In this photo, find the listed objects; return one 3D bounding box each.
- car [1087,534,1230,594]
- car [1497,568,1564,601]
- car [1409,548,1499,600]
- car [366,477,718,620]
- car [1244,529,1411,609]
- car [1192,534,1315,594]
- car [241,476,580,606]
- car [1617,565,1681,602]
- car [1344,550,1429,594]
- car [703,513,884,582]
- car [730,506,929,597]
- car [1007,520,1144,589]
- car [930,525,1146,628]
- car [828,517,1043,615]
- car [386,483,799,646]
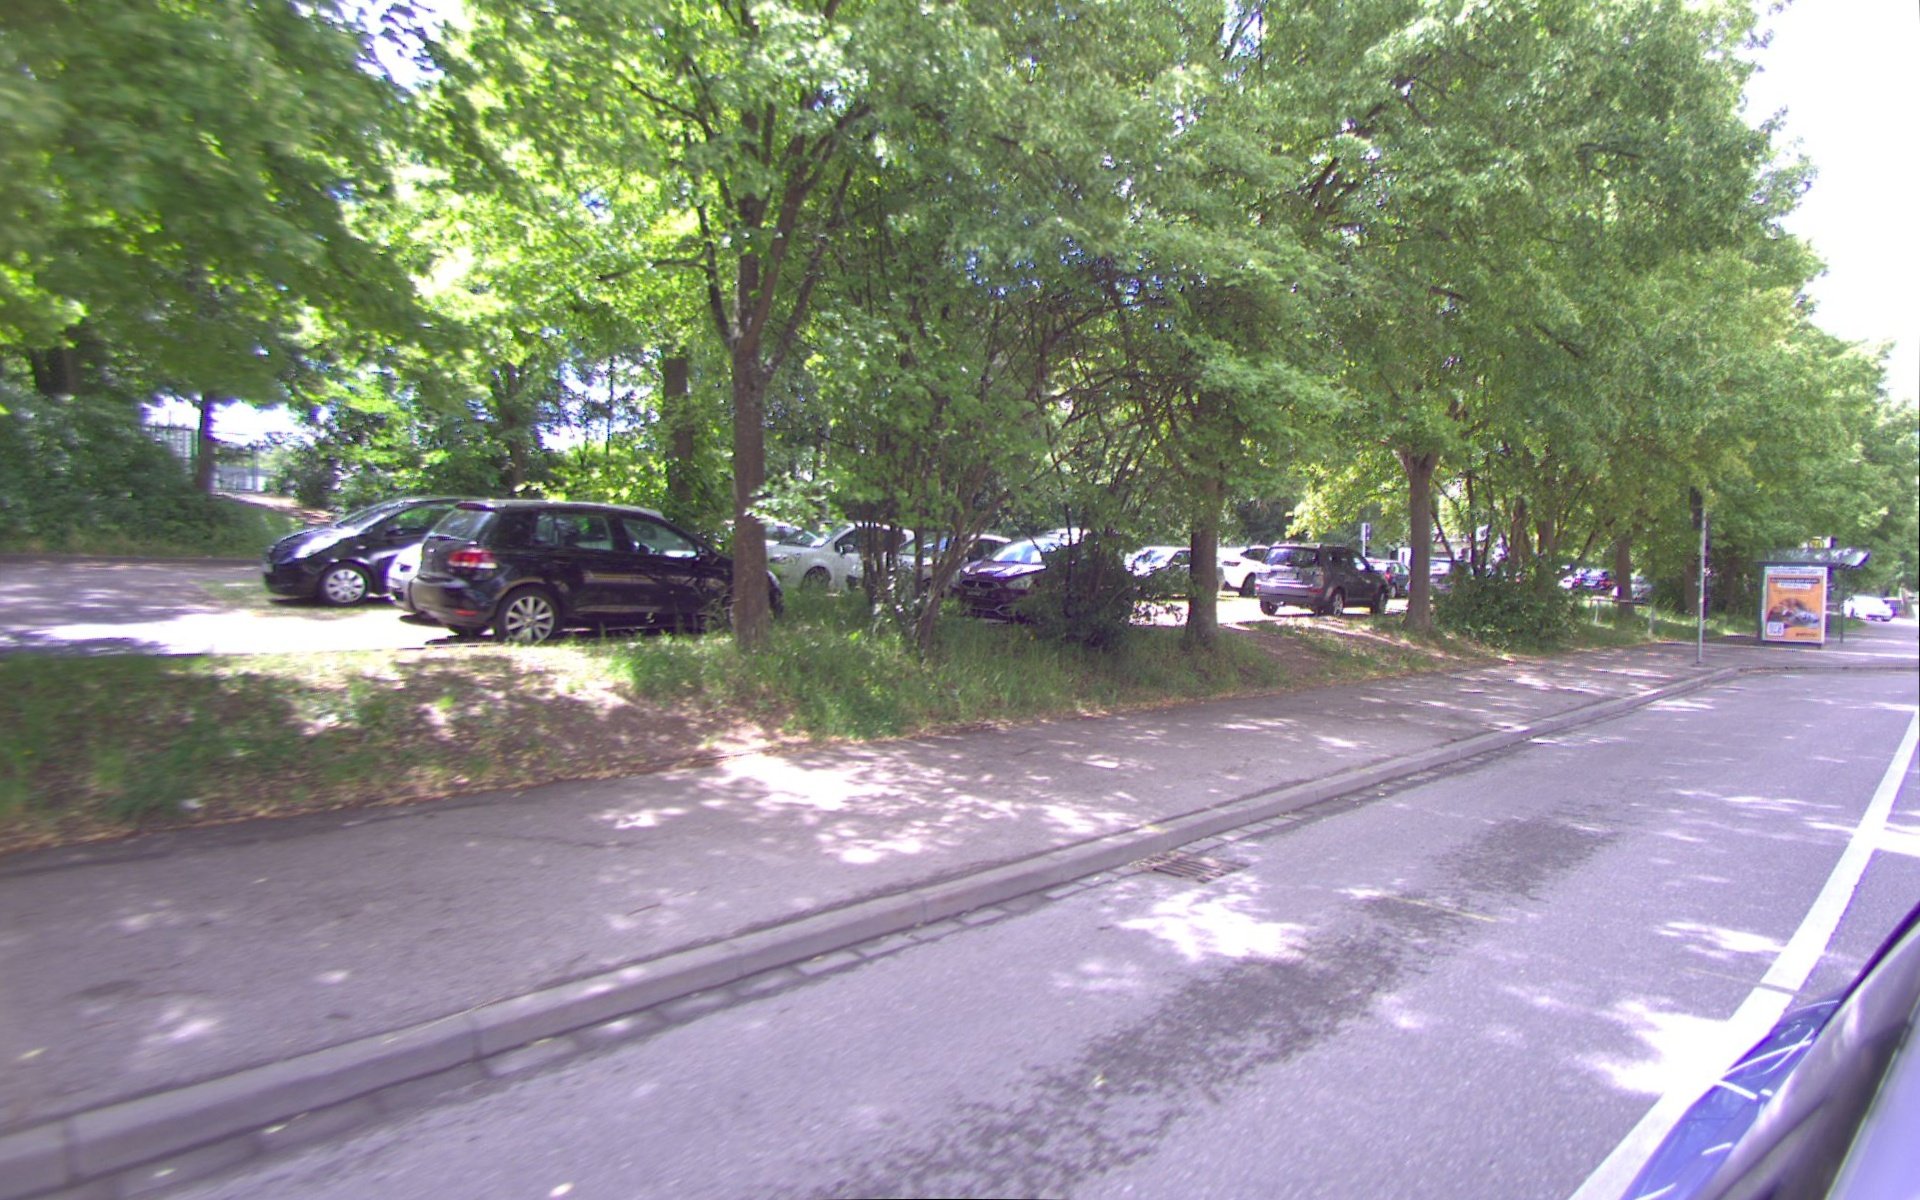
[{"bbox_3d":[5.447,-0.942,27.494,4.281,1.459,1.615,0,4,-44],"label":"car"},{"bbox_3d":[29.137,-0.776,51.645,4.469,1.495,1.754,0,4,-44],"label":"car"},{"bbox_3d":[18.396,-1.019,37.619,1.689,1.714,4.195,7,7,44],"label":"car"},{"bbox_3d":[-5.328,-0.639,13.228,3.925,1.585,1.636,-1,4,-45],"label":"car"},{"bbox_3d":[8.688,-0.684,23.703,4.646,1.682,1.848,0,1,-44],"label":"car"},{"bbox_3d":[9.054,-1.081,31.004,4.355,1.573,1.473,1,4,-42],"label":"car"},{"bbox_3d":[-7.678,-0.809,14.374,3.925,1.585,1.610,-1,5,-45],"label":"car"},{"bbox_3d":[32.363,-0.765,47.498,4.071,1.532,1.629,0,5,-45],"label":"car"},{"bbox_3d":[16.378,-1.114,38.800,1.689,1.509,3.734,7,7,44],"label":"car"},{"bbox_3d":[-3.669,-1.154,22.569,3.561,1.333,1.790,0,5,-43],"label":"car"},{"bbox_3d":[-2.535,-0.938,20.135,3.561,1.633,1.695,0,5,-43],"label":"car"},{"bbox_3d":[3.417,-1.289,29.362,4.138,1.811,1.615,0,5,-44],"label":"car"},{"bbox_3d":[1.356,-0.380,16.338,1.606,1.430,3.766,4,3,38],"label":"car"},{"bbox_3d":[-0.371,-0.592,18.027,3.561,1.526,1.695,0,5,-43],"label":"car"},{"bbox_3d":[-3.939,-0.390,11.240,3.925,1.482,1.799,-1,4,-45],"label":"car"}]
